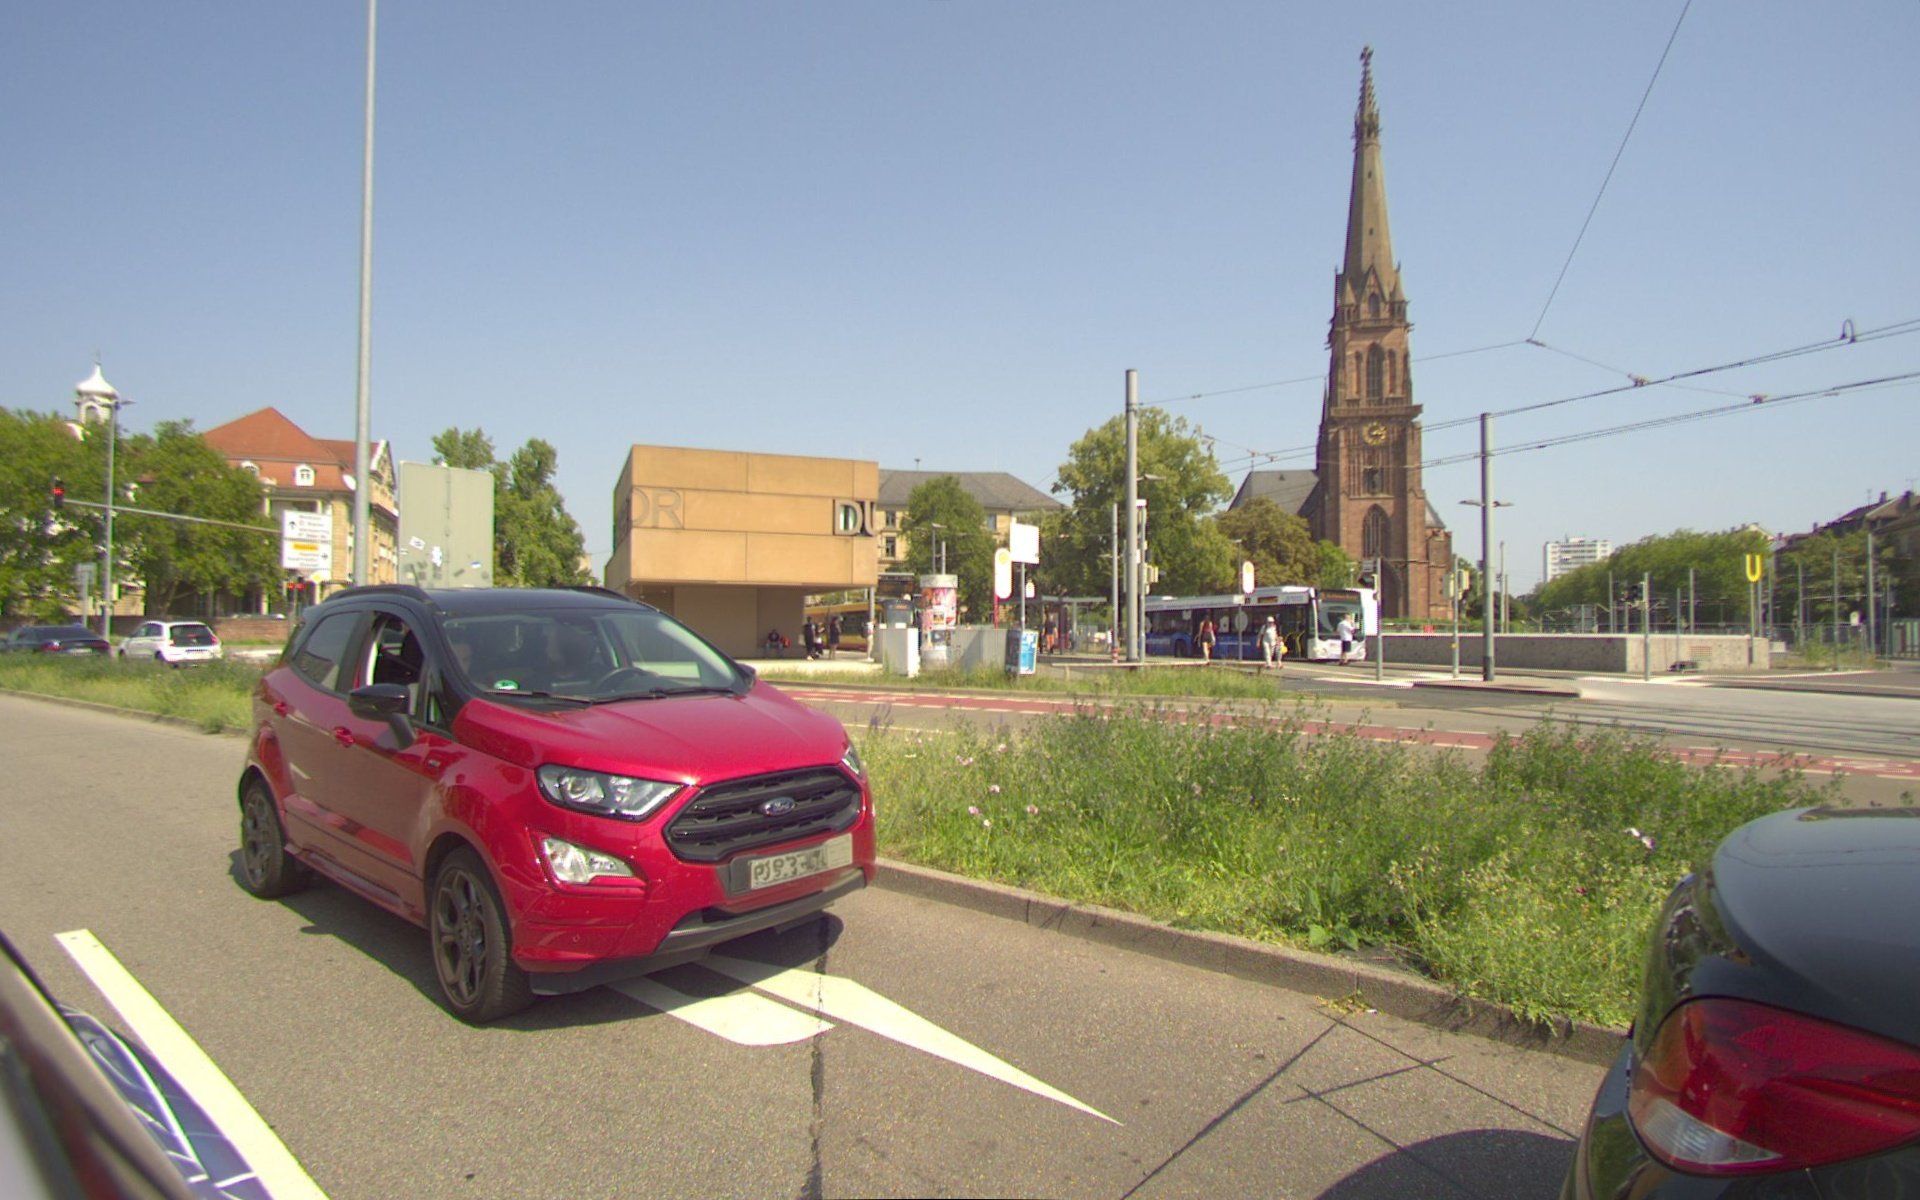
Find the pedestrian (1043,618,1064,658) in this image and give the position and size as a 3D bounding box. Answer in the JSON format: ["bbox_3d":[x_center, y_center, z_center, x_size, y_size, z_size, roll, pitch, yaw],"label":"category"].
[{"bbox_3d":[4.344,1.752,47.072,0.792,1.837,0.535,1,-2,-21],"label":"pedestrian"}]

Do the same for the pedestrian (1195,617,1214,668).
[{"bbox_3d":[8.760,1.518,36.272,0.632,1.825,0.599,-1,0,16],"label":"pedestrian"}]

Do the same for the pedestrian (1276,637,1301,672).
[{"bbox_3d":[10.957,1.799,33.750,0.630,1.134,0.601,-1,0,3],"label":"pedestrian"}]

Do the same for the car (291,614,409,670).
[{"bbox_3d":[-21.469,1.436,35.600,3.898,1.868,1.851,0,-2,29],"label":"car"}]

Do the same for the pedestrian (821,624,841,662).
[{"bbox_3d":[-5.073,1.694,39.880,0.541,1.508,0.532,-1,-3,39],"label":"pedestrian"}]

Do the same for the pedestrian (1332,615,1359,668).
[{"bbox_3d":[13.417,1.438,35.237,0.592,1.825,0.639,-1,0,-38],"label":"pedestrian"}]

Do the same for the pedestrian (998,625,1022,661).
[{"bbox_3d":[2.536,2.193,51.548,0.913,1.837,0.940,1,-2,-21],"label":"pedestrian"}]

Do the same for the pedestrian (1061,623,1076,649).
[{"bbox_3d":[6.864,2.271,64.117,0.750,1.645,0.931,-1,-2,20],"label":"pedestrian"}]

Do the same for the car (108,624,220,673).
[{"bbox_3d":[-25.407,1.524,32.283,3.460,1.490,1.512,-1,-2,27],"label":"car"}]

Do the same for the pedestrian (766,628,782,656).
[{"bbox_3d":[-7.494,1.675,40.721,0.530,1.108,0.543,1,-2,-18],"label":"pedestrian"}]

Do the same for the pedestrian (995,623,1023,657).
[{"bbox_3d":[2.502,2.023,51.622,1.060,1.709,1.068,1,-2,-21],"label":"pedestrian"}]

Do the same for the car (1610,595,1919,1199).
[{"bbox_3d":[2.712,0.660,0.445,1.745,1.398,3.783,0,-1,-45],"label":"car"}]

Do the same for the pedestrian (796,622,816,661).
[{"bbox_3d":[-5.978,1.609,39.318,0.541,1.508,0.532,-1,-3,39],"label":"pedestrian"}]

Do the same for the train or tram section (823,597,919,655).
[{"bbox_3d":[-6.184,1.798,67.245,2.658,3.465,13.464,1,-2,-21],"label":"train or tram section"}]

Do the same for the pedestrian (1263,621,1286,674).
[{"bbox_3d":[10.322,1.551,33.250,0.529,1.724,0.692,0,-2,3],"label":"pedestrian"}]

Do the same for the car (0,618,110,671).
[{"bbox_3d":[-25.961,1.260,28.939,3.466,1.437,1.510,-1,-2,32],"label":"car"}]

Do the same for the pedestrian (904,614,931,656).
[{"bbox_3d":[-1.551,1.266,36.907,0.605,1.508,0.761,-1,-3,39],"label":"pedestrian"}]

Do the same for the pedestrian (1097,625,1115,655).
[{"bbox_3d":[8.132,2.234,56.359,0.779,1.645,0.758,1,-2,-16],"label":"pedestrian"}]

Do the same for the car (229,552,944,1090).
[{"bbox_3d":[-2.058,0.690,4.930,3.844,1.598,1.672,-2,-1,42],"label":"car"}]

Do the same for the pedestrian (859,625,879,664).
[{"bbox_3d":[-3.581,1.754,39.896,0.541,1.508,0.532,-1,-3,39],"label":"pedestrian"}]

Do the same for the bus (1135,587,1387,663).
[{"bbox_3d":[12.068,1.111,42.755,3.346,2.733,12.382,1,-2,-21],"label":"bus"}]

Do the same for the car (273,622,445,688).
[{"bbox_3d":[-15.887,1.395,26.682,4.700,1.597,1.978,-1,-2,32],"label":"car"}]
